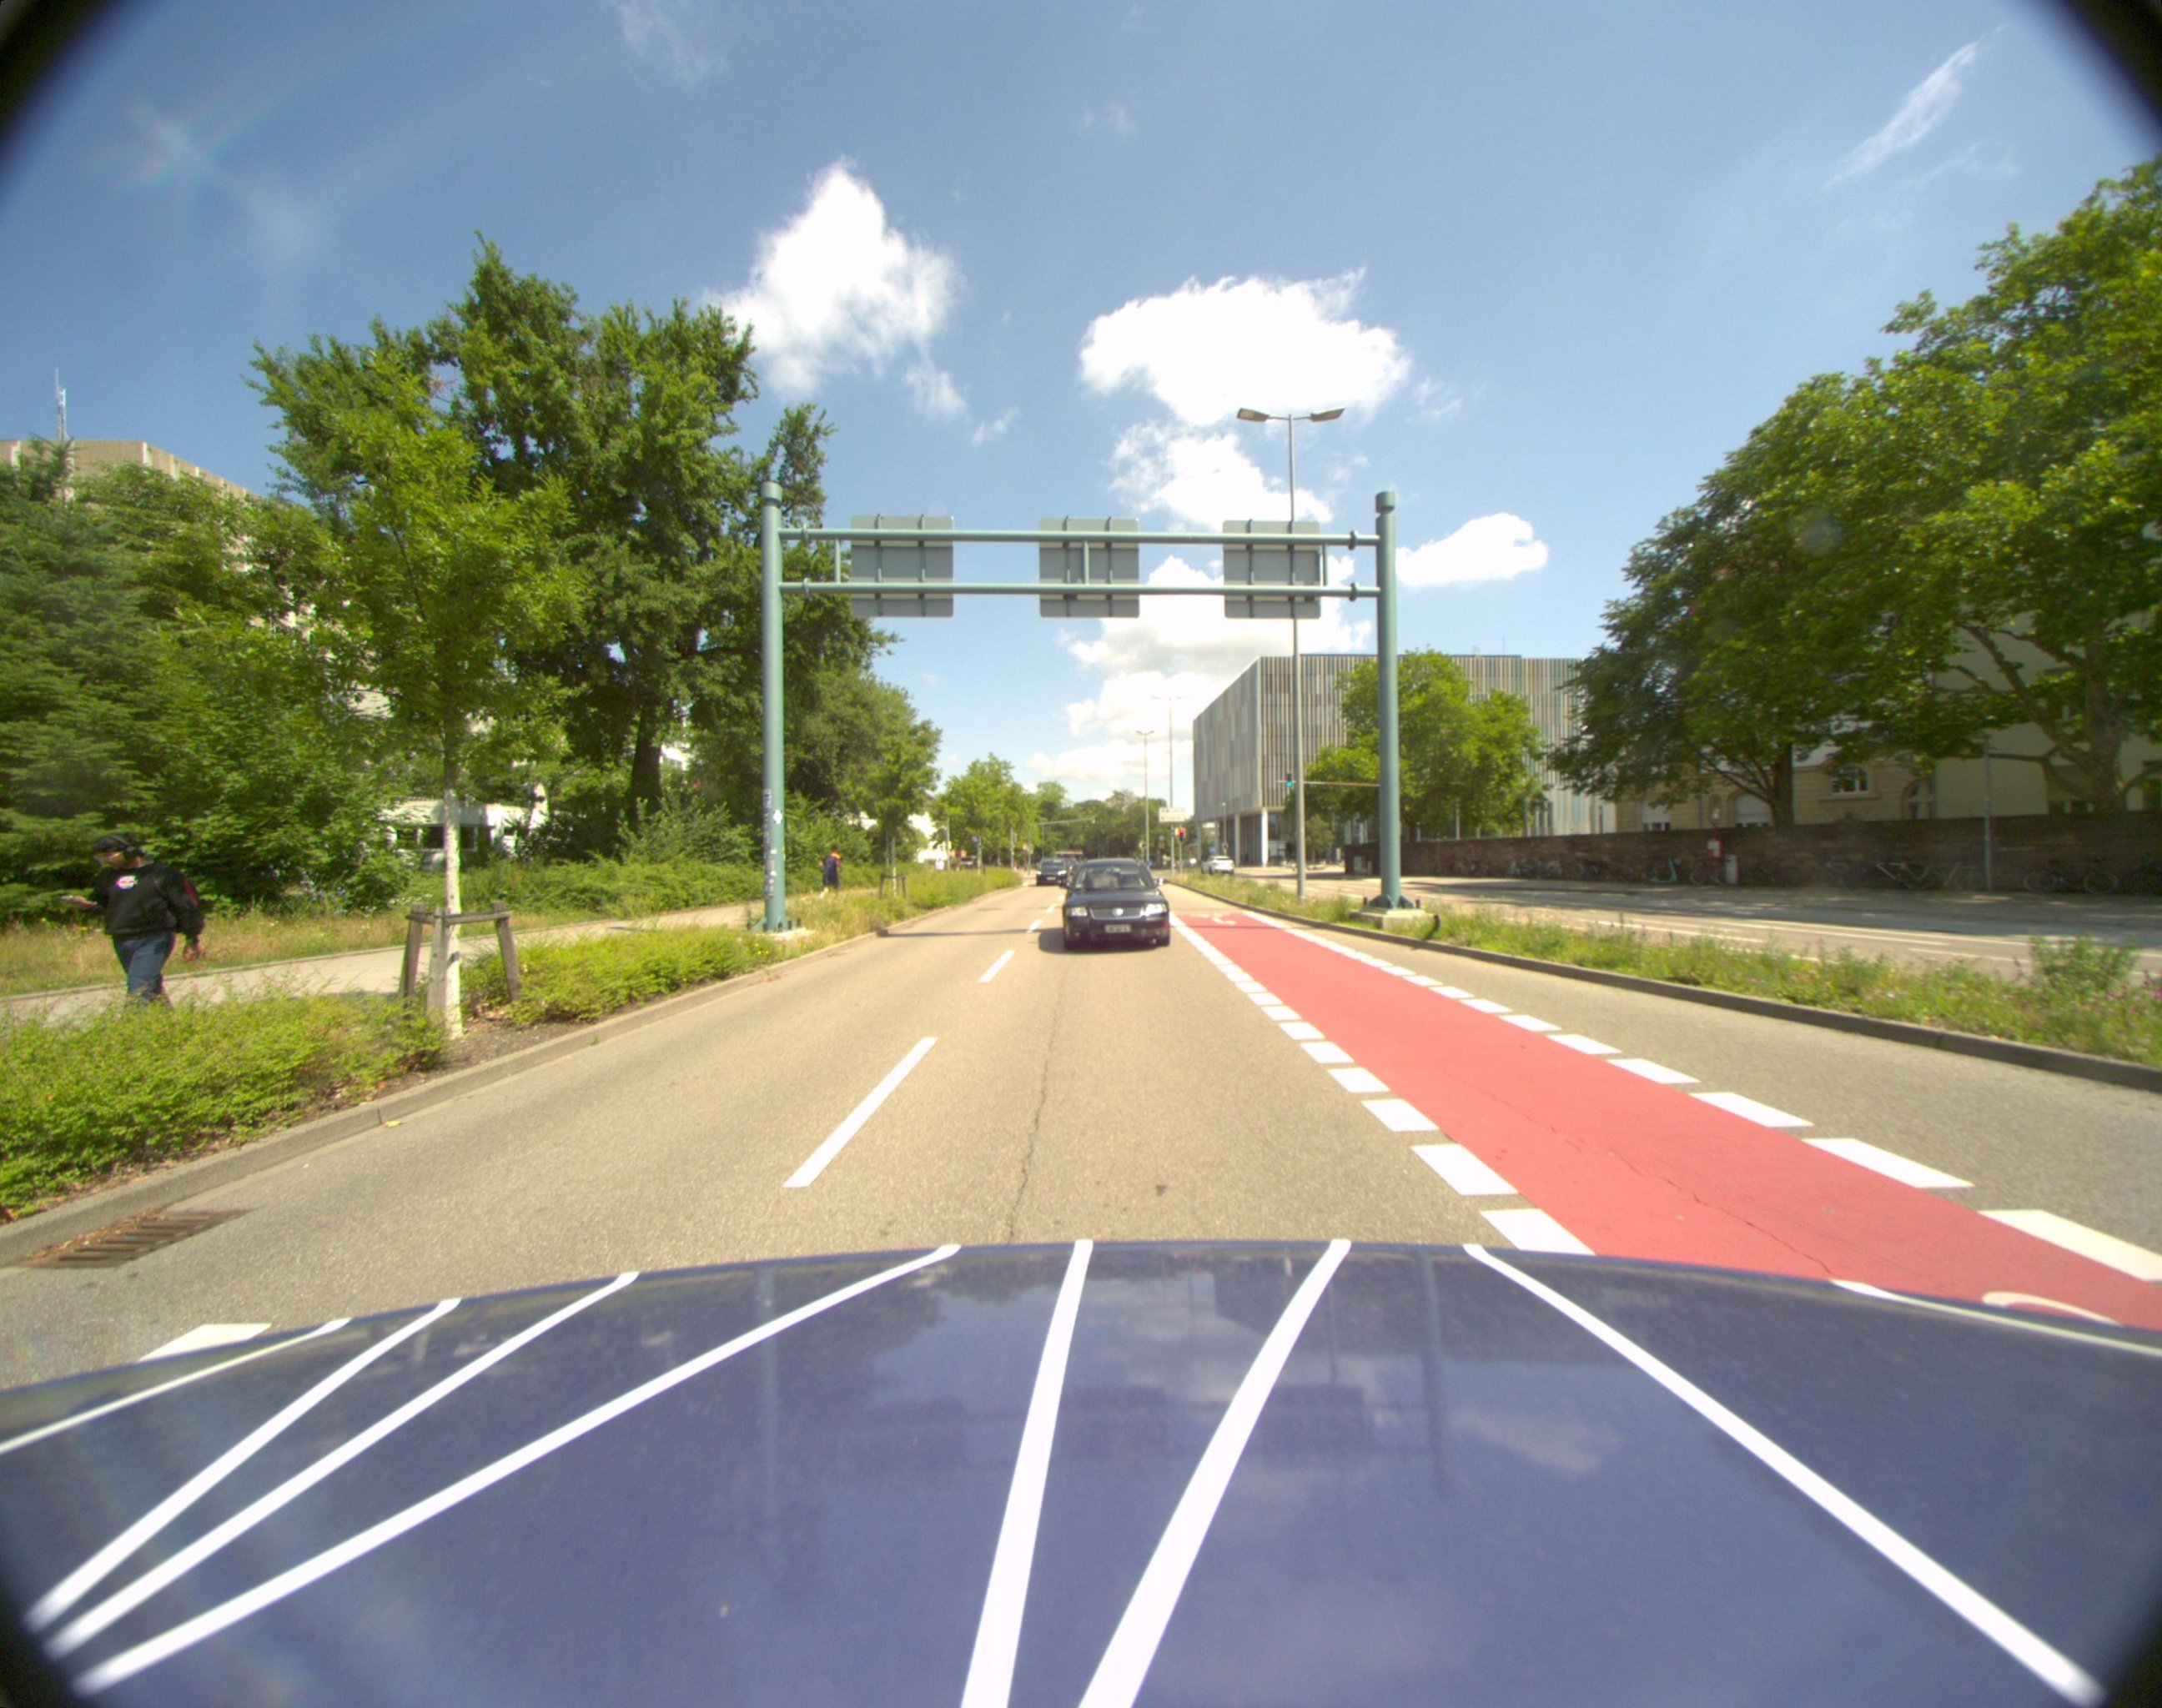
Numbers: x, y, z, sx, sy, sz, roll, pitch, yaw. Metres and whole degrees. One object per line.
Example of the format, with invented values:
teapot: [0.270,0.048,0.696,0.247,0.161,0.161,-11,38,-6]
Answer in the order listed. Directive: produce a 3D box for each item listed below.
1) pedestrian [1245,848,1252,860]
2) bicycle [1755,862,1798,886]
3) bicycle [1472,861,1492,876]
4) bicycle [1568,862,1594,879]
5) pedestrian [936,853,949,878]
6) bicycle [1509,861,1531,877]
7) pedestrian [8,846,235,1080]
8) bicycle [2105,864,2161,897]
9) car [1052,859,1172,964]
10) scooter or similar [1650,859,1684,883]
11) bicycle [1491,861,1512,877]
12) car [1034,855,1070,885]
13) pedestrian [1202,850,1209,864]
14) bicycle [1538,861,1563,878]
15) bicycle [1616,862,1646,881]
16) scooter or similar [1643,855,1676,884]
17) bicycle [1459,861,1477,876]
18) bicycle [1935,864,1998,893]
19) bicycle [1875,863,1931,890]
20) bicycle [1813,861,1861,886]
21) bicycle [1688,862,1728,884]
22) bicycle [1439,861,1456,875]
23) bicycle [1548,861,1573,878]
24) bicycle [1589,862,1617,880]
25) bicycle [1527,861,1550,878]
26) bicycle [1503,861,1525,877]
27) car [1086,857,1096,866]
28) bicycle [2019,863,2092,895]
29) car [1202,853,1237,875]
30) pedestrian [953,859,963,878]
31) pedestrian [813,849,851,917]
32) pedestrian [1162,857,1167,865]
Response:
pedestrian: [27.310,-0.034,123.932,0.864,2.002,0.995,-1,0,0]
bicycle: [25.189,0.707,27.527,0.265,0.826,1.235,-1,0,-11]
bicycle: [22.926,0.815,43.437,0.265,0.826,1.234,-1,0,-11]
bicycle: [23.829,0.780,36.209,0.265,0.826,1.235,-1,0,-11]
pedestrian: [-11.251,0.906,61.764,0.847,2.026,0.900,-1,0,-20]
bicycle: [23.358,0.790,40.415,0.265,0.826,1.234,-1,0,-11]
pedestrian: [-7.395,0.784,5.892,0.760,1.674,0.817,-1,0,12]
bicycle: [27.129,0.670,19.354,0.265,0.826,1.234,-1,0,-13]
car: [0.492,0.866,13.595,1.723,1.472,4.594,-3,0,1]
scooter or similar: [24.575,0.702,31.858,0.266,1.014,1.140,-1,0,-22]
bicycle: [23.151,0.818,41.810,0.265,0.826,1.234,-1,0,-11]
car: [-1.669,0.908,44.662,1.816,1.598,4.479,-3,0,1]
pedestrian: [18.283,0.395,111.586,0.864,2.002,0.995,-1,0,-1]
bicycle: [23.184,0.750,37.533,0.265,0.826,1.234,-1,0,-11]
bicycle: [24.147,0.771,33.379,0.265,0.826,1.235,-1,0,-11]
scooter or similar: [23.779,0.623,31.248,0.265,1.182,1.234,-1,0,-11]
bicycle: [22.796,0.857,44.759,0.265,0.826,1.235,-1,0,-11]
bicycle: [26.243,0.721,22.536,0.265,0.826,1.235,-1,0,-11]
bicycle: [25.993,0.700,24.049,0.265,0.826,1.235,-1,0,-11]
bicycle: [25.712,0.659,25.863,0.265,0.826,1.235,-1,0,-11]
bicycle: [24.819,0.740,30.087,0.265,0.826,1.233,-1,0,-21]
bicycle: [22.488,0.844,46.656,0.265,0.826,1.235,-1,0,-11]
bicycle: [23.659,0.749,37.494,0.265,0.826,1.235,-1,0,-11]
bicycle: [23.996,0.784,34.922,0.265,0.826,1.235,-1,0,-11]
bicycle: [23.467,0.788,39.004,0.265,0.826,1.235,-1,0,-11]
bicycle: [22.858,0.808,40.092,0.265,0.826,1.234,-1,0,-11]
car: [1.817,1.291,139.257,1.723,1.545,4.594,-3,0,1]
bicycle: [26.627,0.669,20.777,0.265,0.826,1.234,-1,0,-13]
car: [11.439,0.793,63.120,1.999,1.701,4.512,-1,0,-1]
pedestrian: [-10.576,1.266,65.313,0.767,1.601,0.764,-1,0,-11]
pedestrian: [-6.604,0.765,20.186,0.639,1.754,0.887,-1,0,7]
pedestrian: [15.975,1.317,145.661,0.864,1.647,0.995,-1,0,-1]
